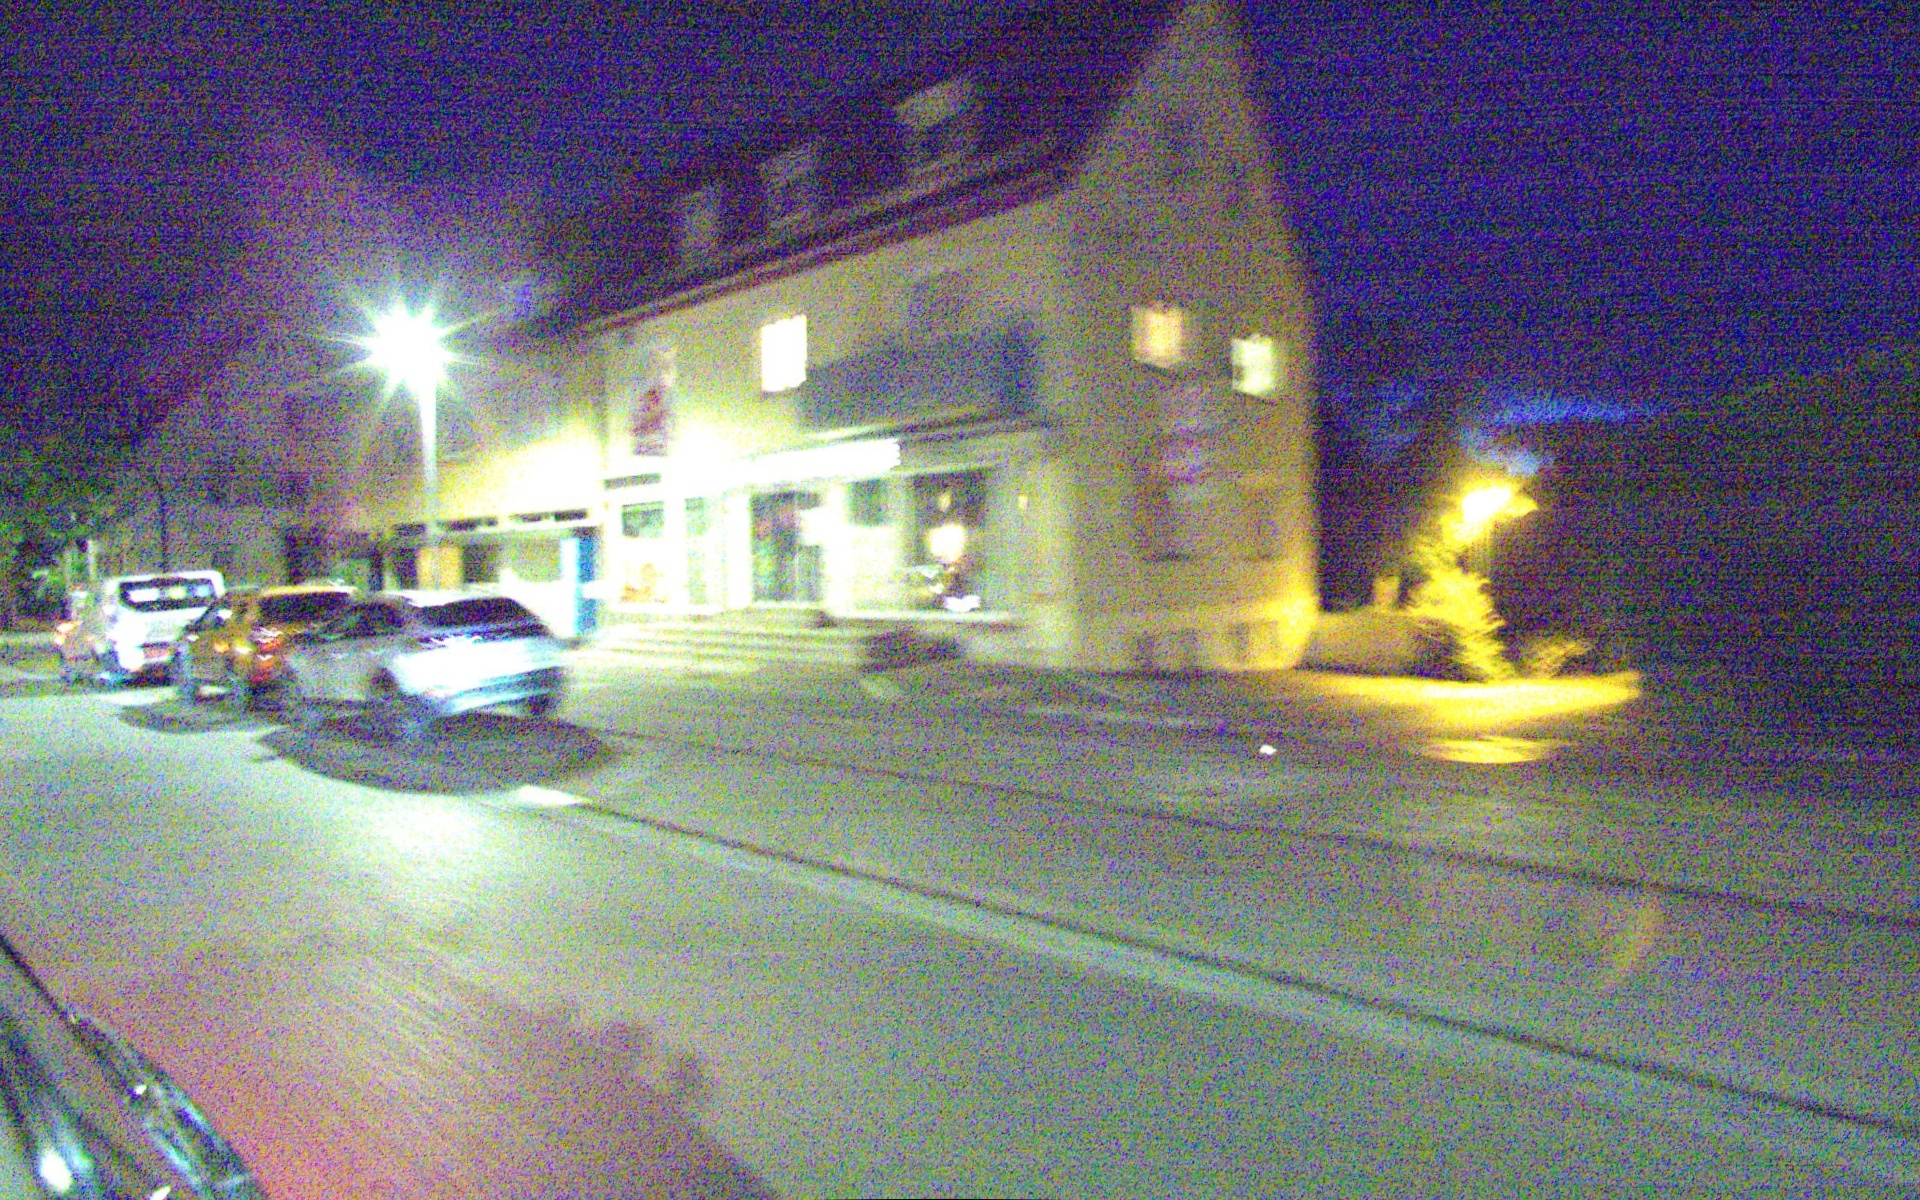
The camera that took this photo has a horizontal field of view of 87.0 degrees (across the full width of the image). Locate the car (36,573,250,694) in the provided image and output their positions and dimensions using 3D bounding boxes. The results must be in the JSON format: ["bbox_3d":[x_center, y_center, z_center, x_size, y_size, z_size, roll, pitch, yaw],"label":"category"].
[{"bbox_3d":[-15.490,0.569,19.097,4.882,1.961,2.096,-1,2,39],"label":"car"}]

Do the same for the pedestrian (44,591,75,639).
[{"bbox_3d":[-37.214,0.609,41.817,0.829,1.917,0.737,-1,3,40],"label":"pedestrian"}]

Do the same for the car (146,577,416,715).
[{"bbox_3d":[-10.044,0.592,14.876,4.164,1.683,2.096,-1,2,39],"label":"car"}]

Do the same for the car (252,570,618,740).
[{"bbox_3d":[-6.176,0.506,11.706,4.471,1.559,2.096,0,2,39],"label":"car"}]
